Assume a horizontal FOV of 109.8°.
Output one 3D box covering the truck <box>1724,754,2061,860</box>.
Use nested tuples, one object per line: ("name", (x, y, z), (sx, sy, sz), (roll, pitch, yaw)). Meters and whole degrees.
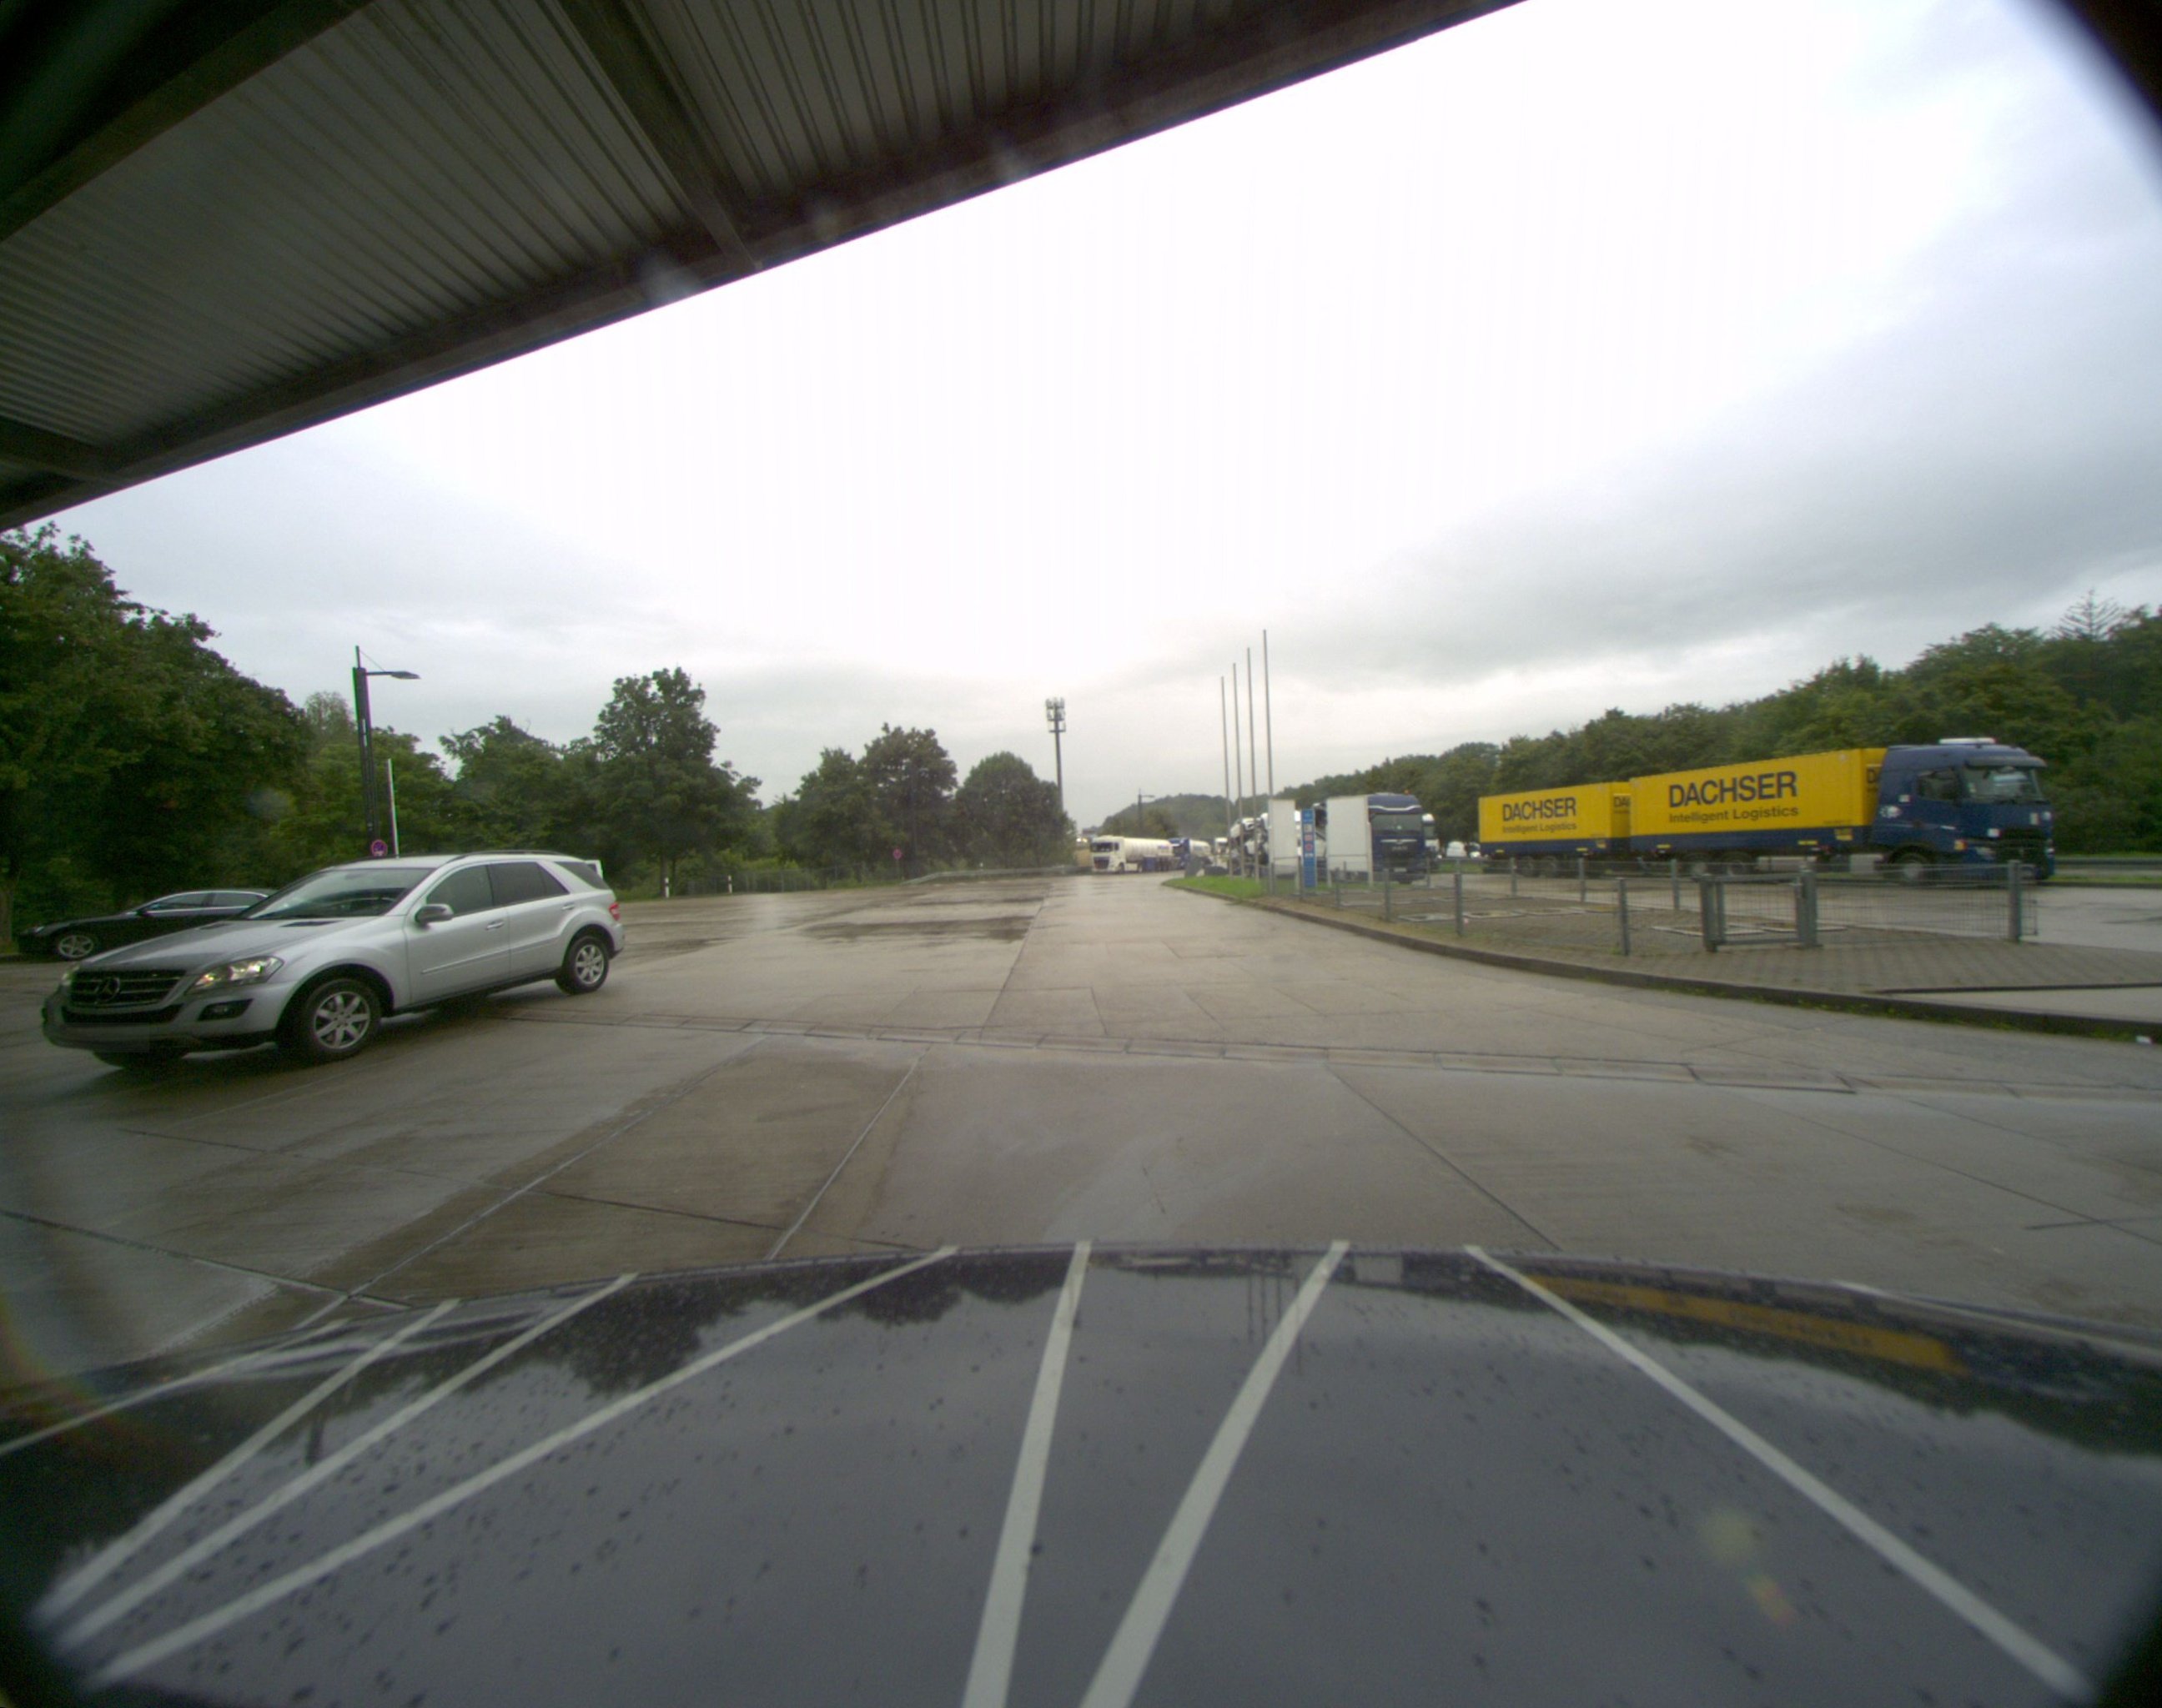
("truck", (33.902, -1.753, 32.723), (2.421, 3.785, 10.223), (-2, 1, -10))

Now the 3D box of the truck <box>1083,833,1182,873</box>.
("truck", (5.443, -0.158, 75.217), (3.505, 3.584, 14.426), (-2, 0, 31))

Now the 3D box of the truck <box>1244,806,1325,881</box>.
("truck", (11.037, -0.554, 41.597), (2.665, 3.750, 4.747), (-2, 1, -6))

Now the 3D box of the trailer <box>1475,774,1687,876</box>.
("trailer", (21.783, -1.178, 33.957), (2.757, 3.894, 8.700), (-2, 1, -9))

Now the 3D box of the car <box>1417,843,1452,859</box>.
("car", (45.357, -0.366, 97.566), (1.730, 1.879, 4.367), (-2, 1, -10))

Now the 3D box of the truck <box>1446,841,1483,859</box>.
("truck", (49.061, -0.504, 97.259), (1.730, 2.252, 4.633), (-2, 1, -10))

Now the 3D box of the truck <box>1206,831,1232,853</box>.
("truck", (33.119, -2.809, 182.459), (3.145, 5.092, 11.515), (-2, 1, -5))

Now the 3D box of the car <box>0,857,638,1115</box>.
("car", (-6.993, 0.999, 7.866), (1.865, 1.788, 4.540), (-2, 1, 4))

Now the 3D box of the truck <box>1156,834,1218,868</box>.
("truck", (12.770, -0.401, 89.698), (3.506, 3.584, 14.685), (-2, 0, 23))

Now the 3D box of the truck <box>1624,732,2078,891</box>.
("truck", (23.145, -1.121, 24.336), (2.757, 3.894, 10.678), (-2, 1, -8))

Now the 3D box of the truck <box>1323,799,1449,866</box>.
("truck", (19.873, -1.294, 50.578), (2.757, 3.894, 10.678), (-2, 1, -8))

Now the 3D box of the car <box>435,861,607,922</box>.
("car", (-20.436, 1.290, 28.003), (4.898, 1.938, 2.310), (-2, 0, -35))

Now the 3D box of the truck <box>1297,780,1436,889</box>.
("truck", (12.175, -0.791, 33.189), (2.665, 4.157, 7.103), (-2, 0, -6))

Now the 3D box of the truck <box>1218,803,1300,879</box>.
("truck", (10.561, -0.722, 45.787), (2.665, 4.157, 6.618), (-2, 1, -6))
